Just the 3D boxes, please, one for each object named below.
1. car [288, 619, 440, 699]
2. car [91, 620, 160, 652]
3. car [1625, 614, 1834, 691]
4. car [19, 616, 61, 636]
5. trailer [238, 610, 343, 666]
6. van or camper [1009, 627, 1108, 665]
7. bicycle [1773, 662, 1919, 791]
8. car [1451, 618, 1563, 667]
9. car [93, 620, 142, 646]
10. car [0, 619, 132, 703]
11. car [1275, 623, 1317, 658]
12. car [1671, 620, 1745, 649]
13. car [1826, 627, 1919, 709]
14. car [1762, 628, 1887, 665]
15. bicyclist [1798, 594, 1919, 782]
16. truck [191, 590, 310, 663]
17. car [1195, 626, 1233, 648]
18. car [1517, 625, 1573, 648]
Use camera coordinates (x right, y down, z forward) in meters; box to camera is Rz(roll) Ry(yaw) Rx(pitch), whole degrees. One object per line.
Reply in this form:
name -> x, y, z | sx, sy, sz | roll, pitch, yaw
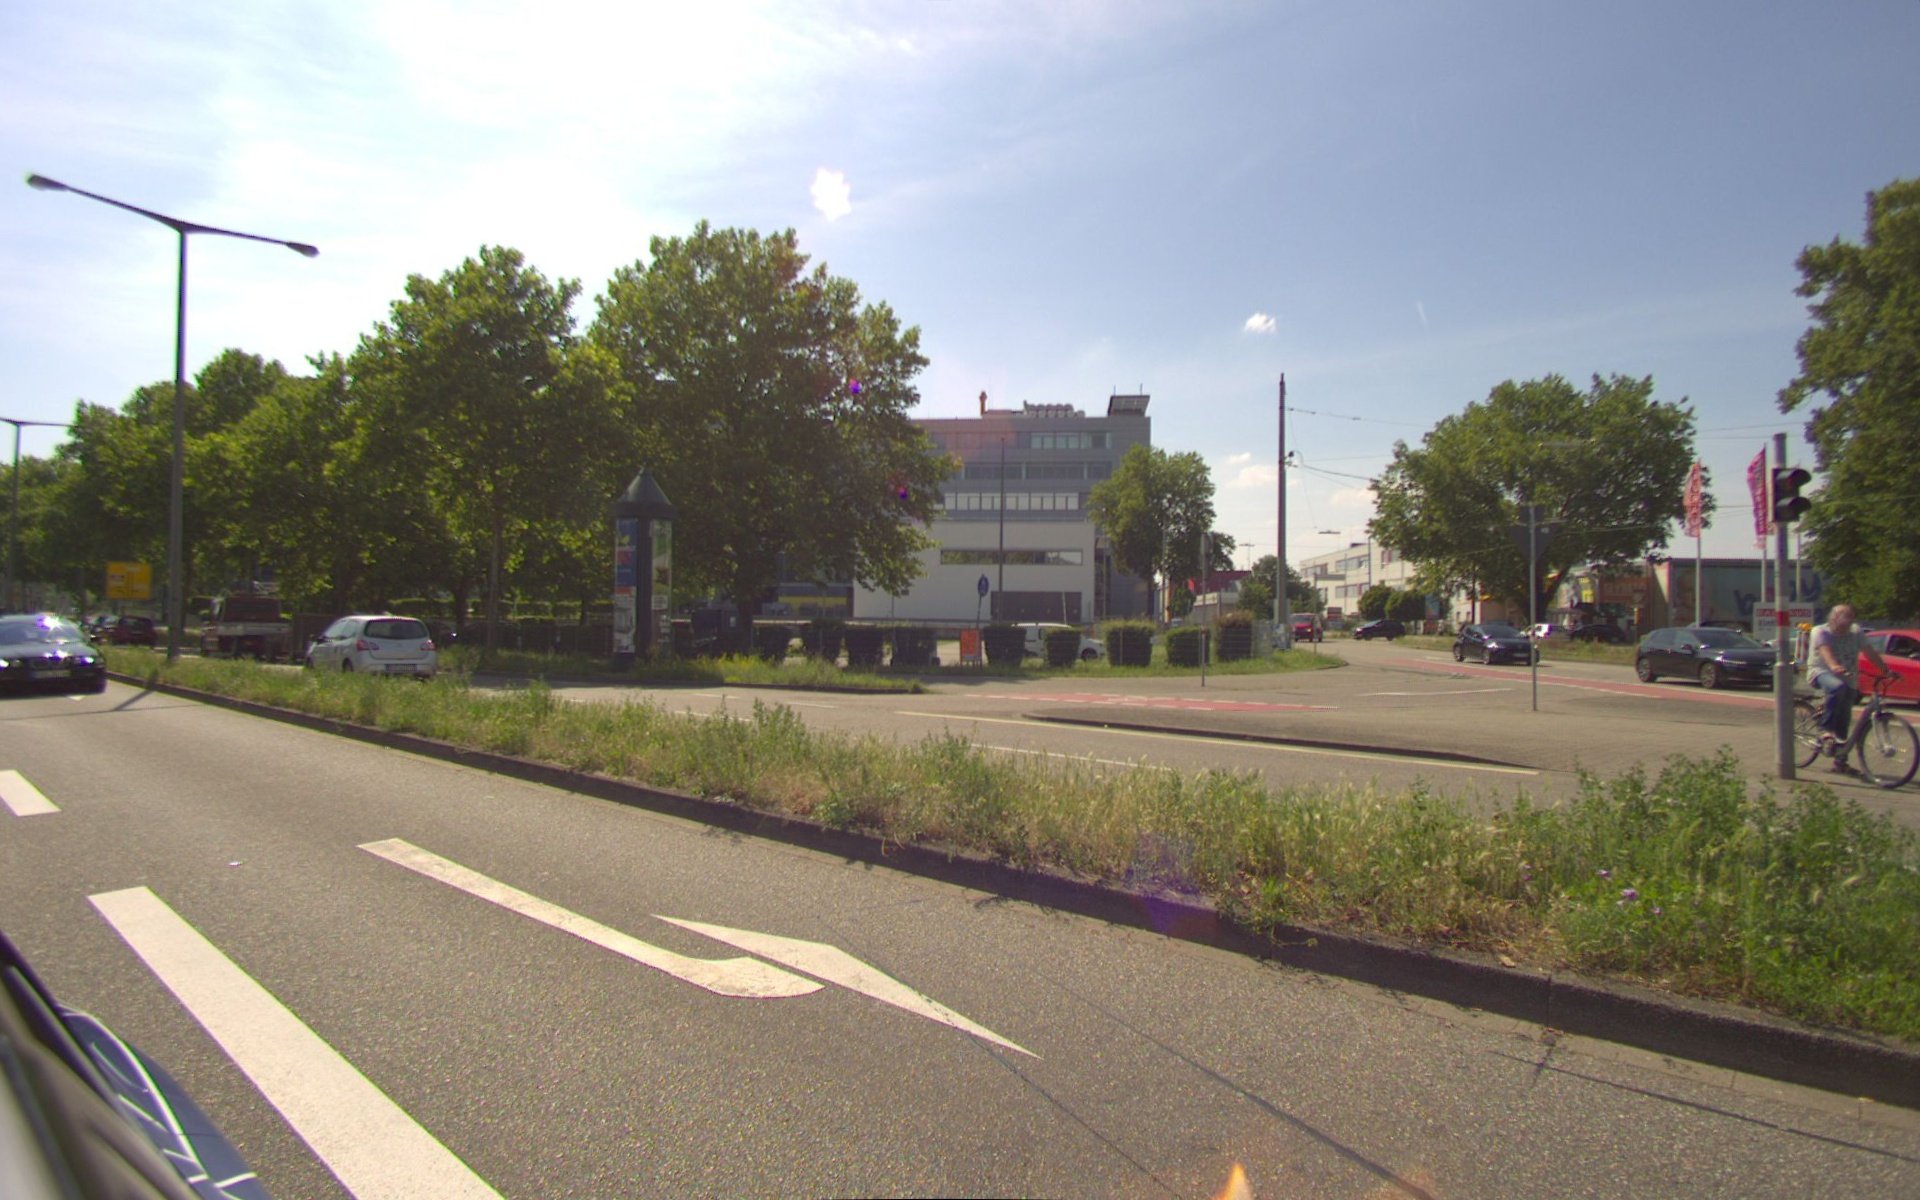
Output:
car -> -12.494, 1.166, 21.150 | 3.734, 1.525, 1.632 | -1, -2, 41
car -> -39.024, 1.701, 47.301 | 3.764, 1.445, 1.829 | -2, -4, 40
car -> 18.698, 1.237, 24.863 | 1.971, 1.712, 4.001 | 0, -2, -2
car -> -71.343, 2.037, 78.441 | 4.219, 1.433, 1.820 | -1, -4, 41
trailer -> -22.406, 1.239, 33.828 | 3.991, 1.729, 2.039 | -1, -2, 43
van or camper -> 4.506, 2.105, 46.773 | 4.453, 1.705, 1.998 | 0, -1, 4
bicycle -> 9.039, 1.202, 10.077 | 0.520, 1.072, 2.157 | 0, -1, 11
car -> 20.326, 1.552, 37.803 | 1.972, 1.712, 4.000 | 0, -2, -1
car -> -49.333, 1.900, 59.240 | 1.818, 1.433, 3.897 | 3, -3, -44
car -> -17.016, 1.068, 19.009 | 1.702, 1.372, 4.079 | 0, 0, -31
car -> 22.654, 2.690, 68.348 | 2.130, 2.295, 5.021 | 0, -2, 12
car -> 55.138, 2.522, 74.720 | 3.974, 2.029, 1.985 | -1, -2, 23
car -> 18.012, 1.211, 18.079 | 1.824, 1.460, 3.994 | 0, -2, 5
car -> 34.850, 1.832, 40.952 | 1.620, 1.422, 4.452 | 0, -1, 7
bicyclist -> 9.044, 0.854, 10.131 | 0.698, 1.802, 0.765 | 0, -2, 12
truck -> -26.479, 0.961, 37.638 | 7.128, 2.494, 2.116 | -1, -2, 43
car -> 20.356, 2.943, 81.144 | 1.972, 1.712, 4.000 | 0, -2, -1
car -> 37.690, 2.322, 65.249 | 1.679, 1.438, 3.853 | 0, -1, 6
